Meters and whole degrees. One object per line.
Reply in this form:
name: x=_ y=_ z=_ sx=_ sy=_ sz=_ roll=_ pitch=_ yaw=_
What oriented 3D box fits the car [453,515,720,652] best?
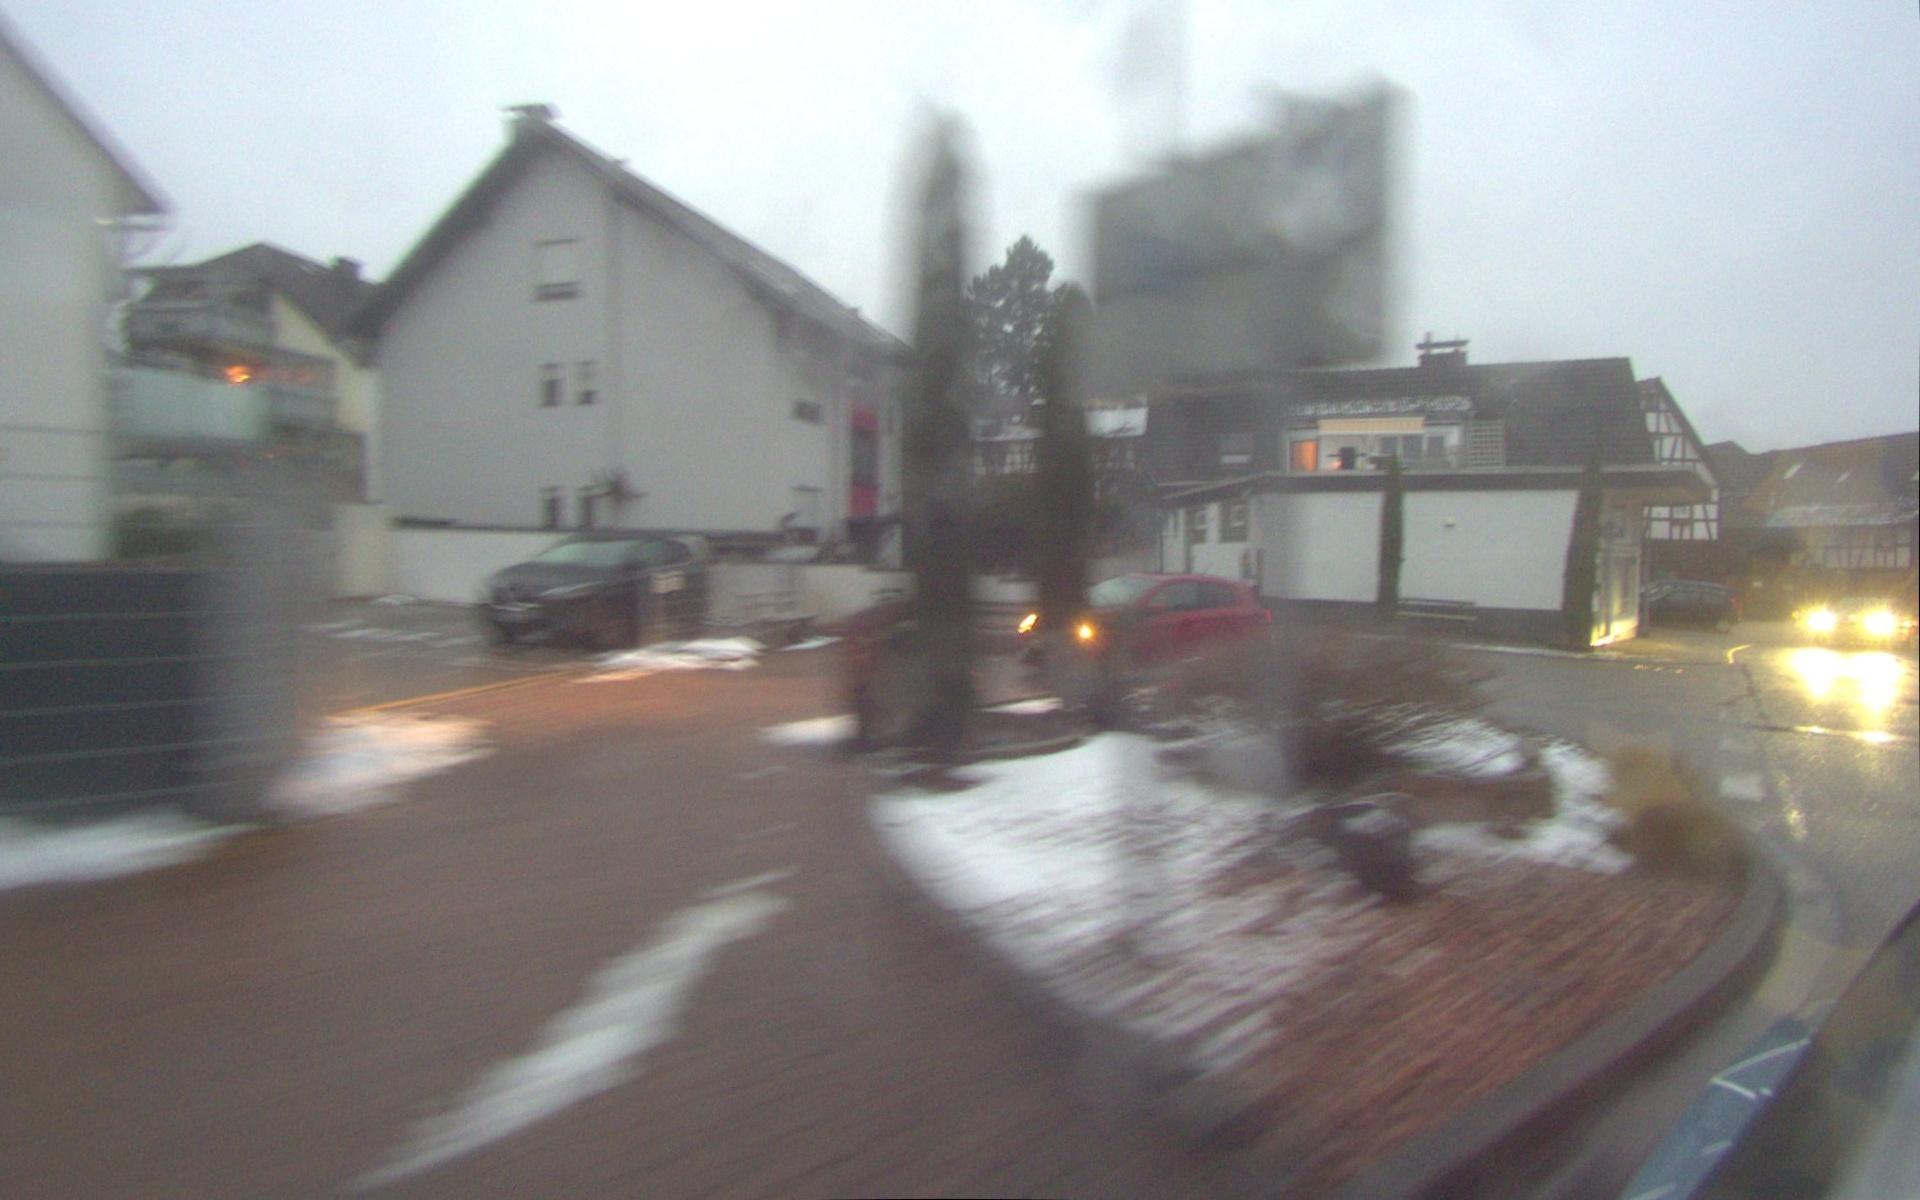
car: x=-5.307 y=-0.294 z=15.011 sx=1.787 sy=1.652 sz=4.123 roll=4 pitch=3 yaw=11

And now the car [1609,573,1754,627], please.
car: x=26.548 y=-0.037 z=37.389 sx=3.846 sy=1.466 sz=1.878 roll=6 pitch=6 yaw=19

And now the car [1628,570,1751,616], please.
car: x=32.097 y=-0.337 z=44.643 sx=3.925 sy=1.533 sz=1.593 roll=6 pitch=6 yaw=13

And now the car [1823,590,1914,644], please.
car: x=29.977 y=0.516 z=33.357 sx=1.995 sy=1.598 sz=4.090 roll=3 pitch=2 yaw=45

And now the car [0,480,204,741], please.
car: x=-7.090 y=0.047 z=5.668 sx=1.787 sy=1.648 sz=4.537 roll=4 pitch=3 yaw=11

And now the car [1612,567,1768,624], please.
car: x=28.388 y=-0.215 z=39.529 sx=4.420 sy=1.679 sz=1.846 roll=6 pitch=6 yaw=18

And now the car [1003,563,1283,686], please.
car: x=2.541 y=0.282 z=13.901 sx=3.624 sy=1.484 sz=1.553 roll=0 pitch=2 yaw=-30
